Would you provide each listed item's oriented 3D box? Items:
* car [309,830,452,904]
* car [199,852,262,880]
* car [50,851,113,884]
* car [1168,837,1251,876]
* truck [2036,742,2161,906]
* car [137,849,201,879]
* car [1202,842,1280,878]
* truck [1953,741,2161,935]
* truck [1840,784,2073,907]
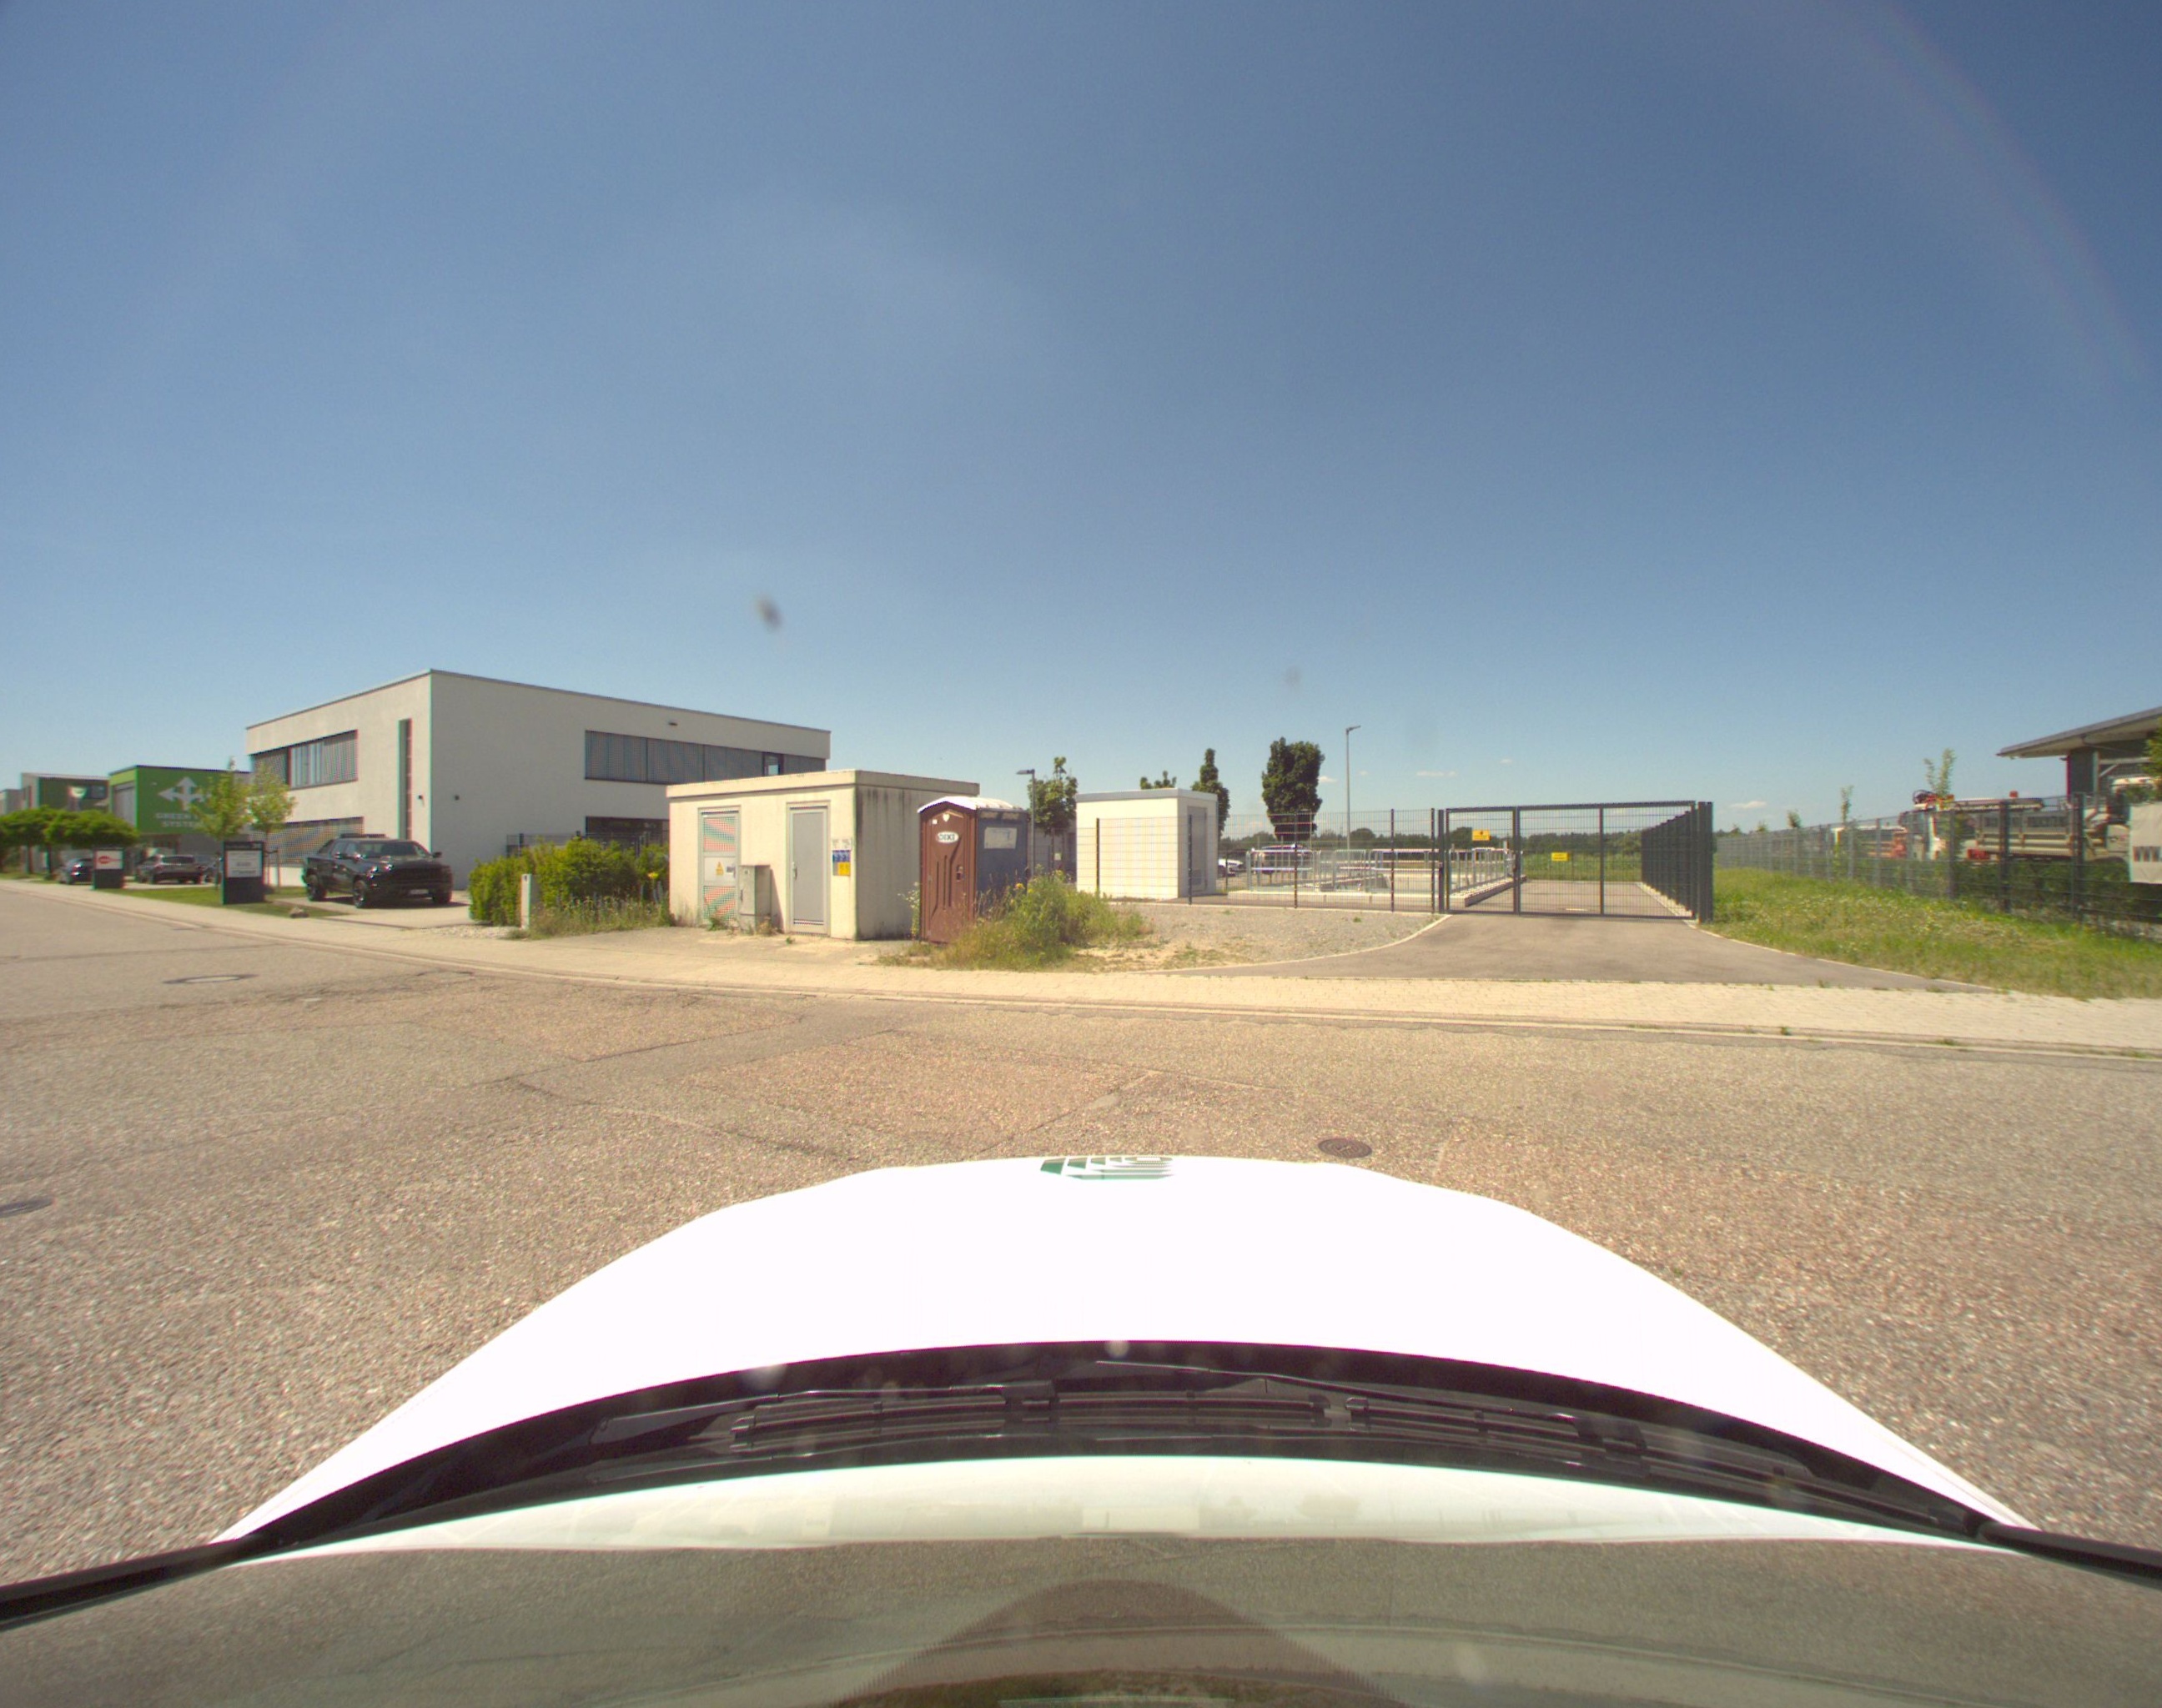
[{"bbox_3d":[-20.621,0.351,23.963,3.949,2.013,2.012,0,0,30],"label":"car"},{"bbox_3d":[-48.201,0.664,46.146,3.949,1.552,1.580,0,0,30],"label":"car"},{"bbox_3d":[-51.583,0.672,42.000,3.948,1.596,1.650,0,0,33],"label":"car"},{"bbox_3d":[6.907,0.122,43.954,3.948,2.013,2.013,0,0,34],"label":"car"},{"bbox_3d":[29.028,-0.728,21.629,2.893,3.929,6.979,0,0,33],"label":"truck"},{"bbox_3d":[-49.852,0.543,44.516,3.949,1.552,1.580,0,0,30],"label":"car"},{"bbox_3d":[9.266,0.312,47.254,3.948,2.013,2.013,0,0,34],"label":"car"},{"bbox_3d":[19.615,-0.260,15.377,2.700,3.062,6.979,0,0,33],"label":"truck"},{"bbox_3d":[24.320,-0.209,23.125,2.893,2.938,6.979,0,0,33],"label":"truck"}]
